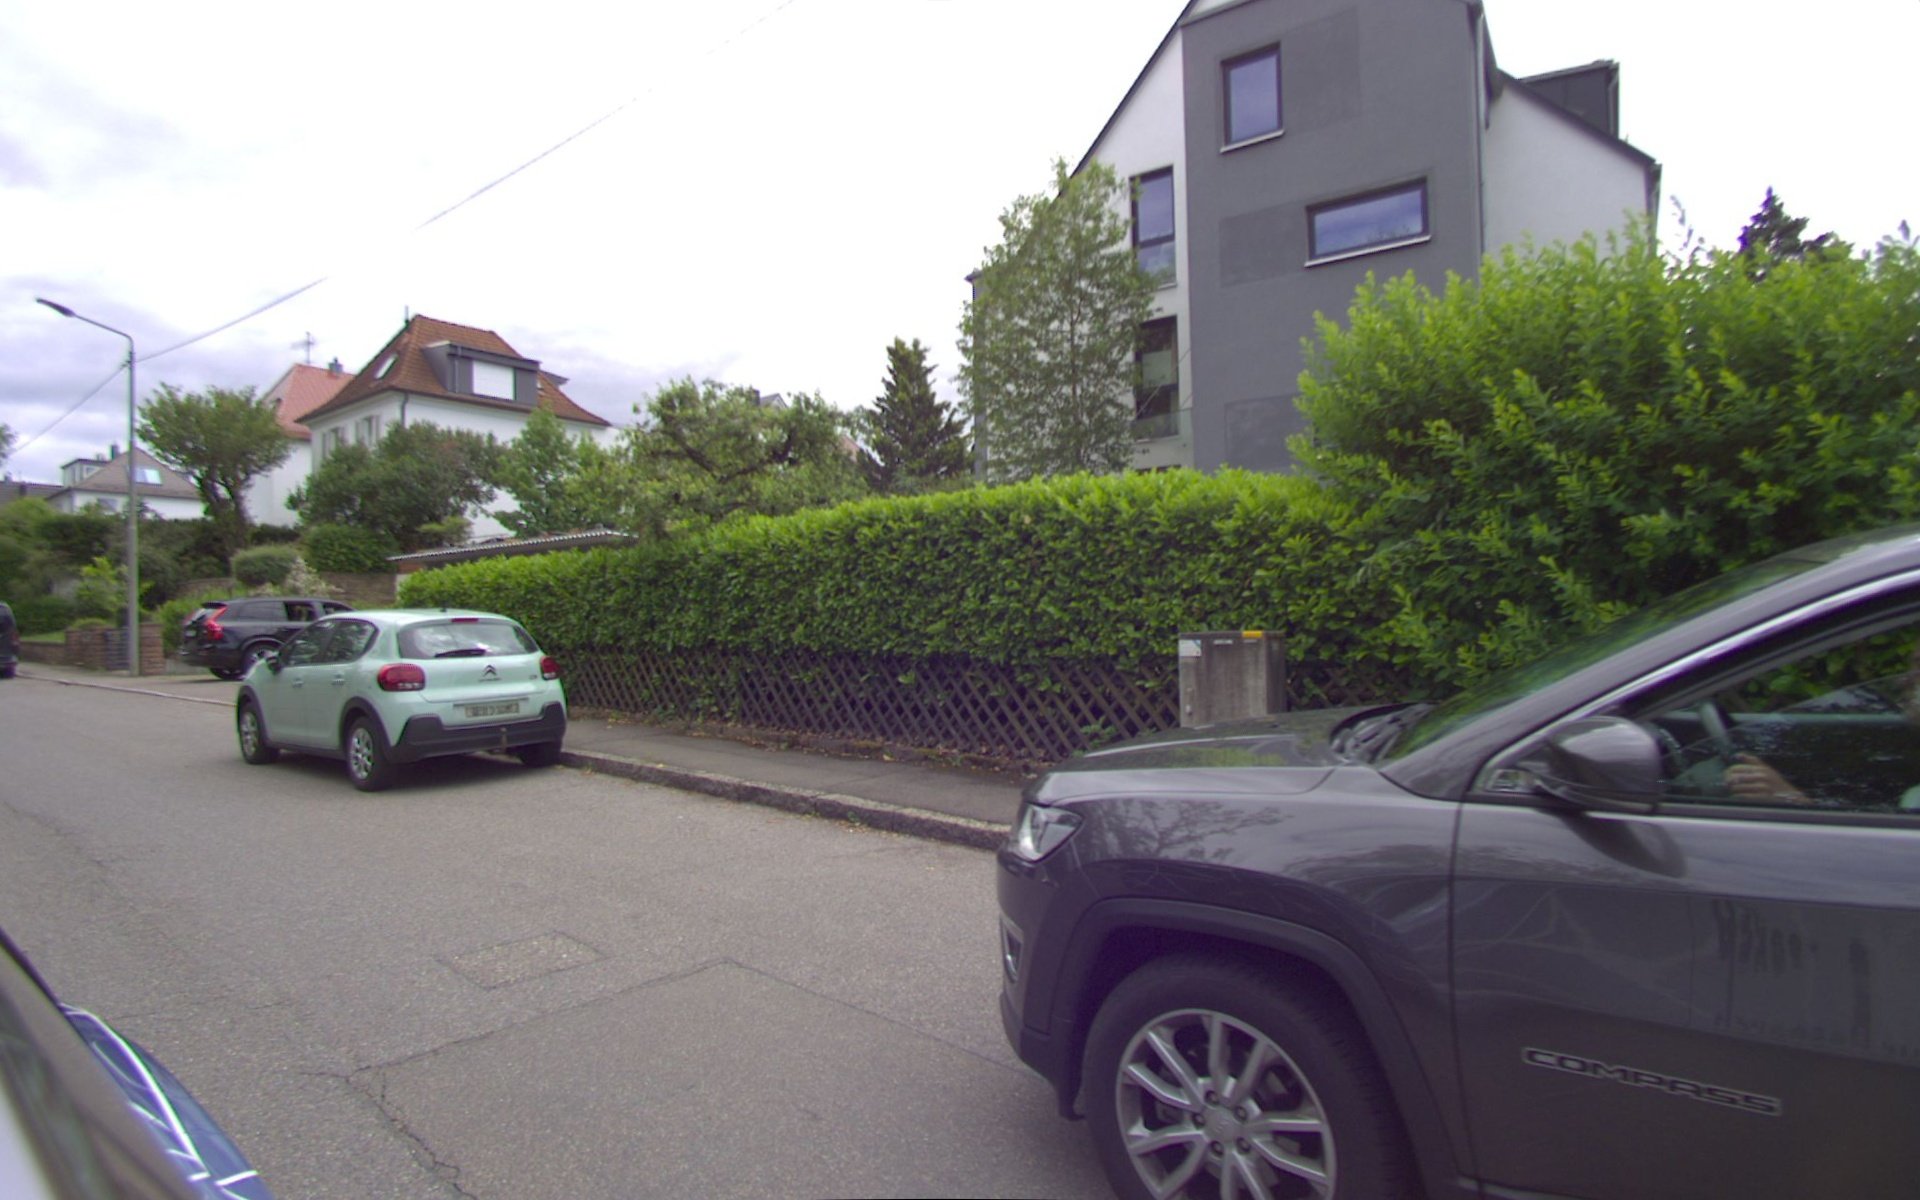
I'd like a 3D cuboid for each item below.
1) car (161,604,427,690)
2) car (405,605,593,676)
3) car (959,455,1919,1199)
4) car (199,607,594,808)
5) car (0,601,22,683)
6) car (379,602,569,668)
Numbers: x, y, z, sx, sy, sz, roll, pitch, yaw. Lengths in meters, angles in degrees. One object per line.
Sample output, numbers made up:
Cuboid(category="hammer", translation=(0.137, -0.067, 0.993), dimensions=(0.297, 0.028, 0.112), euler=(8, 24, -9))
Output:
Cuboid(category="car", translation=(-14.712, 0.974, 22.630), dimensions=(1.994, 1.710, 4.578), euler=(-1, -1, 33))
Cuboid(category="car", translation=(-12.094, 1.054, 26.775), dimensions=(1.994, 1.710, 4.089), euler=(-4, -3, 33))
Cuboid(category="car", translation=(2.258, 0.590, 1.816), dimensions=(4.317, 1.609, 1.816), euler=(-2, -1, 38))
Cuboid(category="car", translation=(-5.448, 0.848, 9.618), dimensions=(4.006, 1.511, 1.768), euler=(-1, 0, 36))
Cuboid(category="car", translation=(-24.871, 1.023, 24.832), dimensions=(5.029, 1.941, 1.846), euler=(-1, 0, 37))
Cuboid(category="car", translation=(-13.874, 0.996, 29.147), dimensions=(1.994, 1.710, 4.578), euler=(-4, -3, 33))
